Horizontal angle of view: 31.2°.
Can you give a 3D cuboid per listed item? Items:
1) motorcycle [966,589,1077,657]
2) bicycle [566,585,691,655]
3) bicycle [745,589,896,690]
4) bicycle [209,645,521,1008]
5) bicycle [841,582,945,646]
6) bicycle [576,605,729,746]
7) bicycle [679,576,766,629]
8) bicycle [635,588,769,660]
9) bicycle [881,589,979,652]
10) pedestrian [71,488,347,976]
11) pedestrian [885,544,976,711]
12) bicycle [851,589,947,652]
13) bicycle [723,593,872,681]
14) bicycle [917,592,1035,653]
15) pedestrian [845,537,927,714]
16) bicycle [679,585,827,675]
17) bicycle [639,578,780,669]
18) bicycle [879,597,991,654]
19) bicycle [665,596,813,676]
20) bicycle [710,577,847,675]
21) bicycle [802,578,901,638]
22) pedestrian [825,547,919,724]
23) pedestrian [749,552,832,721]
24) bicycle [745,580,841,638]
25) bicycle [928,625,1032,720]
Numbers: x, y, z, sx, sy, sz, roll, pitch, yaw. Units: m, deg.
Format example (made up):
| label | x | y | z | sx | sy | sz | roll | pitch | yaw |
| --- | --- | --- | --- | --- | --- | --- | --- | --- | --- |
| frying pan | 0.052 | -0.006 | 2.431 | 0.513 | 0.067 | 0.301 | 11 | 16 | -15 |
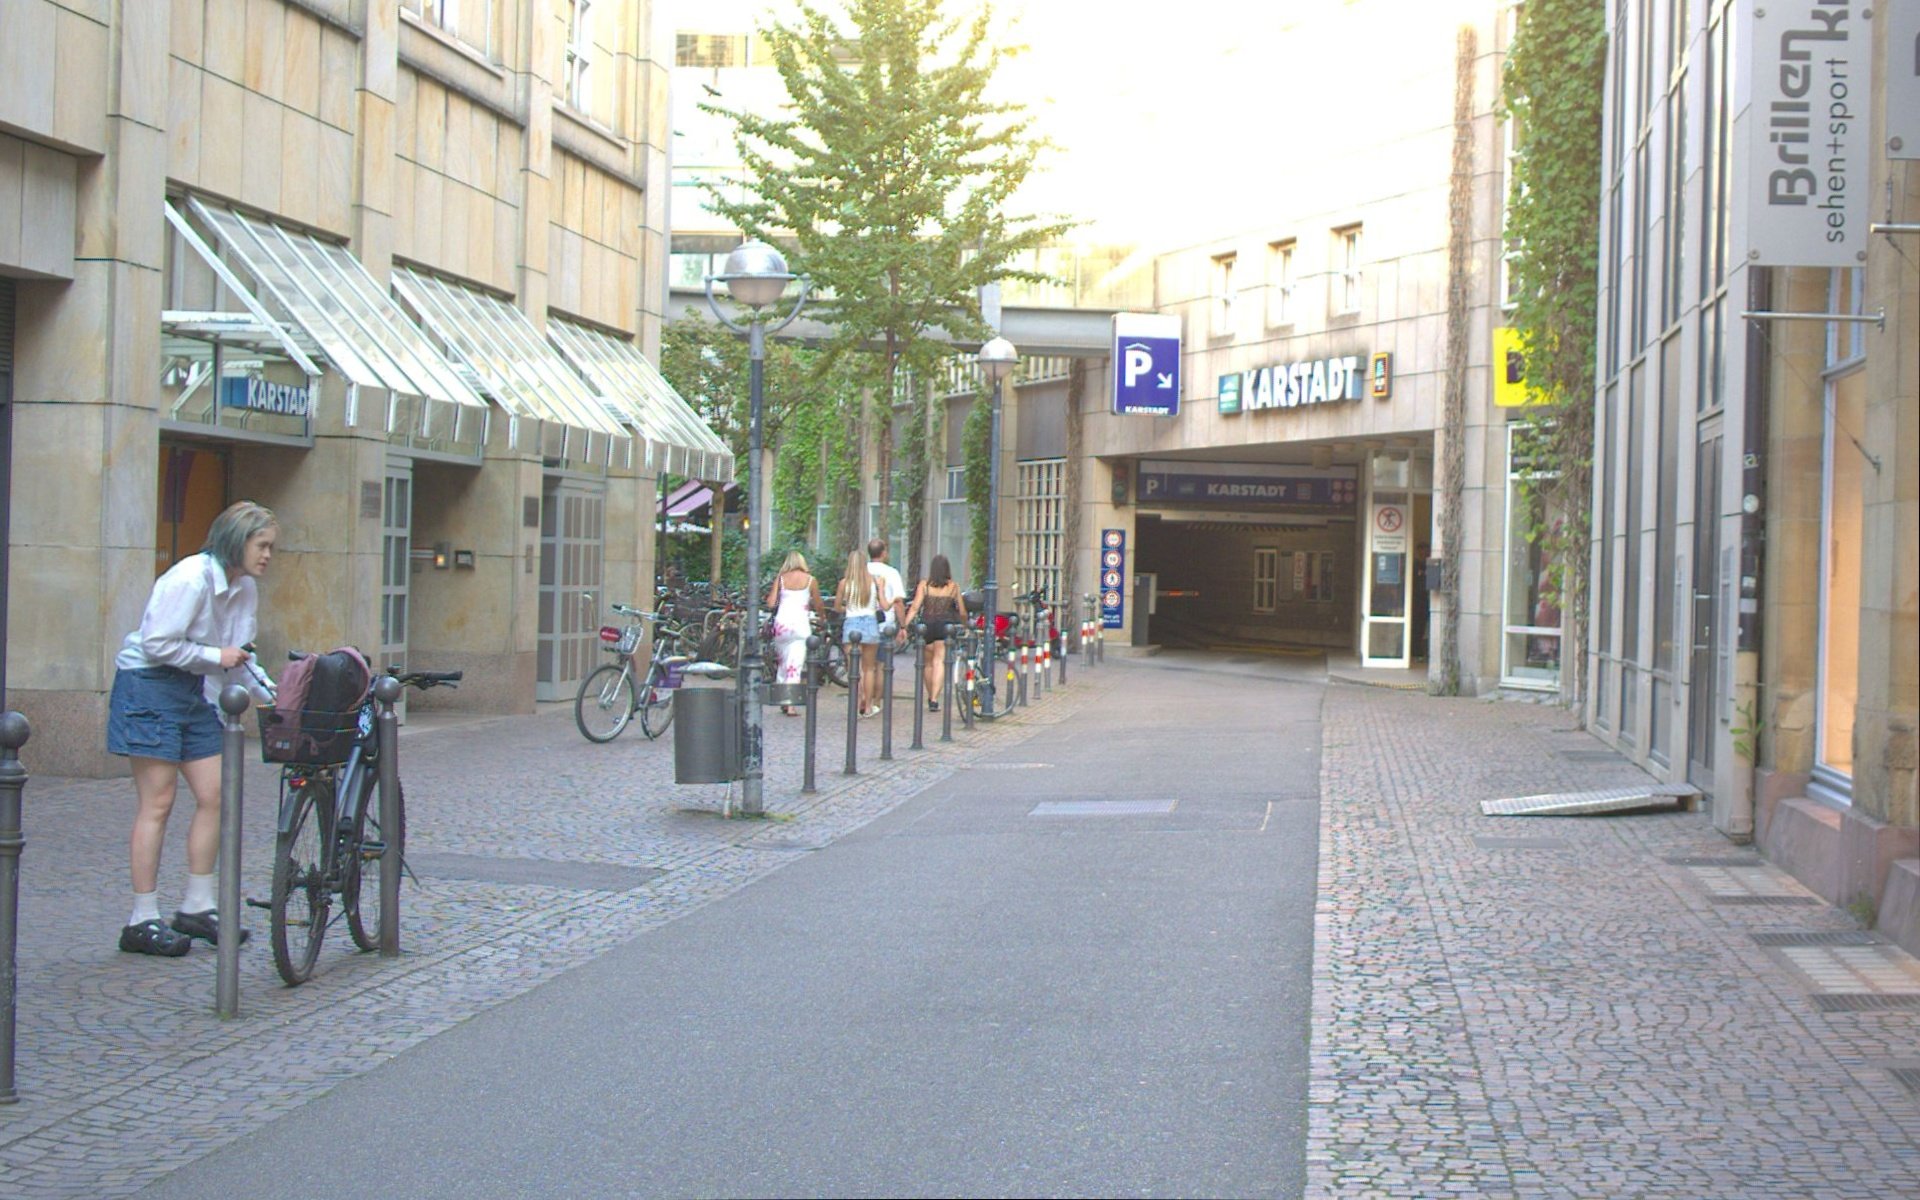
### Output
| label | x | y | z | sx | sy | sz | roll | pitch | yaw |
| --- | --- | --- | --- | --- | --- | --- | --- | --- | --- |
| motorcycle | 0.965 | 0.362 | 54.161 | 1.662 | 1.047 | 0.464 | 1 | 0 | -14 |
| bicycle | -5.065 | 0.305 | 52.498 | 1.824 | 1.039 | 0.534 | 0 | 1 | -16 |
| bicycle | -1.715 | 0.486 | 42.221 | 1.766 | 1.226 | 0.534 | 0 | 0 | -16 |
| bicycle | -2.131 | 0.776 | 12.556 | 0.533 | 1.150 | 1.914 | 3 | 1 | 7 |
| bicycle | -1.199 | 0.254 | 61.402 | 1.773 | 1.111 | 0.543 | 1 | 0 | -14 |
| bicycle | -2.579 | 0.620 | 28.982 | 0.522 | 1.134 | 1.762 | 1 | 1 | 22 |
| bicycle | -5.058 | 0.050 | 73.209 | 1.773 | 1.111 | 0.543 | 1 | 0 | -12 |
| bicycle | -3.798 | 0.354 | 50.597 | 1.876 | 1.039 | 0.534 | 0 | 1 | -16 |
| bicycle | -0.510 | 0.345 | 57.763 | 1.539 | 1.045 | 0.575 | 1 | 0 | -14 |
| pedestrian | -2.752 | 0.468 | 12.643 | 0.768 | 1.712 | 0.591 | 3 | 1 | 6 |
| pedestrian | -0.321 | 0.287 | 37.507 | 0.785 | 1.789 | 0.972 | 1 | 1 | 11 |
| bicycle | -1.044 | 0.349 | 58.802 | 1.539 | 1.045 | 0.575 | 1 | 0 | -14 |
| bicycle | -2.103 | 0.473 | 44.443 | 1.836 | 1.118 | 0.534 | 0 | 0 | -16 |
| bicycle | 0.255 | 0.366 | 55.871 | 1.847 | 0.979 | 0.464 | 1 | 0 | -14 |
| pedestrian | -0.769 | 0.262 | 35.992 | 0.742 | 1.816 | 0.878 | 1 | 0 | 4 |
| bicycle | -2.735 | 0.396 | 45.469 | 1.872 | 1.173 | 0.534 | 0 | 0 | -16 |
| bicycle | -3.412 | 0.321 | 46.751 | 1.833 | 1.221 | 0.534 | 0 | 0 | -16 |
| bicycle | -0.411 | 0.420 | 56.618 | 1.773 | 0.901 | 0.464 | 1 | 0 | -14 |
| bicycle | -2.963 | 0.486 | 46.027 | 1.893 | 1.048 | 0.534 | 0 | 1 | -16 |
| bicycle | -2.302 | 0.330 | 43.567 | 1.653 | 1.226 | 0.534 | 0 | 0 | -16 |
| bicycle | -2.042 | 0.150 | 64.815 | 1.773 | 1.111 | 0.543 | 1 | 0 | -14 |
| pedestrian | -0.875 | 0.346 | 34.426 | 0.806 | 1.723 | 0.948 | 1 | 1 | 5 |
| pedestrian | -1.700 | 0.360 | 34.553 | 0.675 | 1.659 | 0.860 | 2 | 1 | 5 |
| bicycle | -3.263 | 0.179 | 67.213 | 1.773 | 1.111 | 0.543 | 1 | 0 | -14 |
| bicycle | 0.218 | 0.738 | 35.546 | 0.493 | 0.935 | 1.657 | 3 | 1 | 21 |
